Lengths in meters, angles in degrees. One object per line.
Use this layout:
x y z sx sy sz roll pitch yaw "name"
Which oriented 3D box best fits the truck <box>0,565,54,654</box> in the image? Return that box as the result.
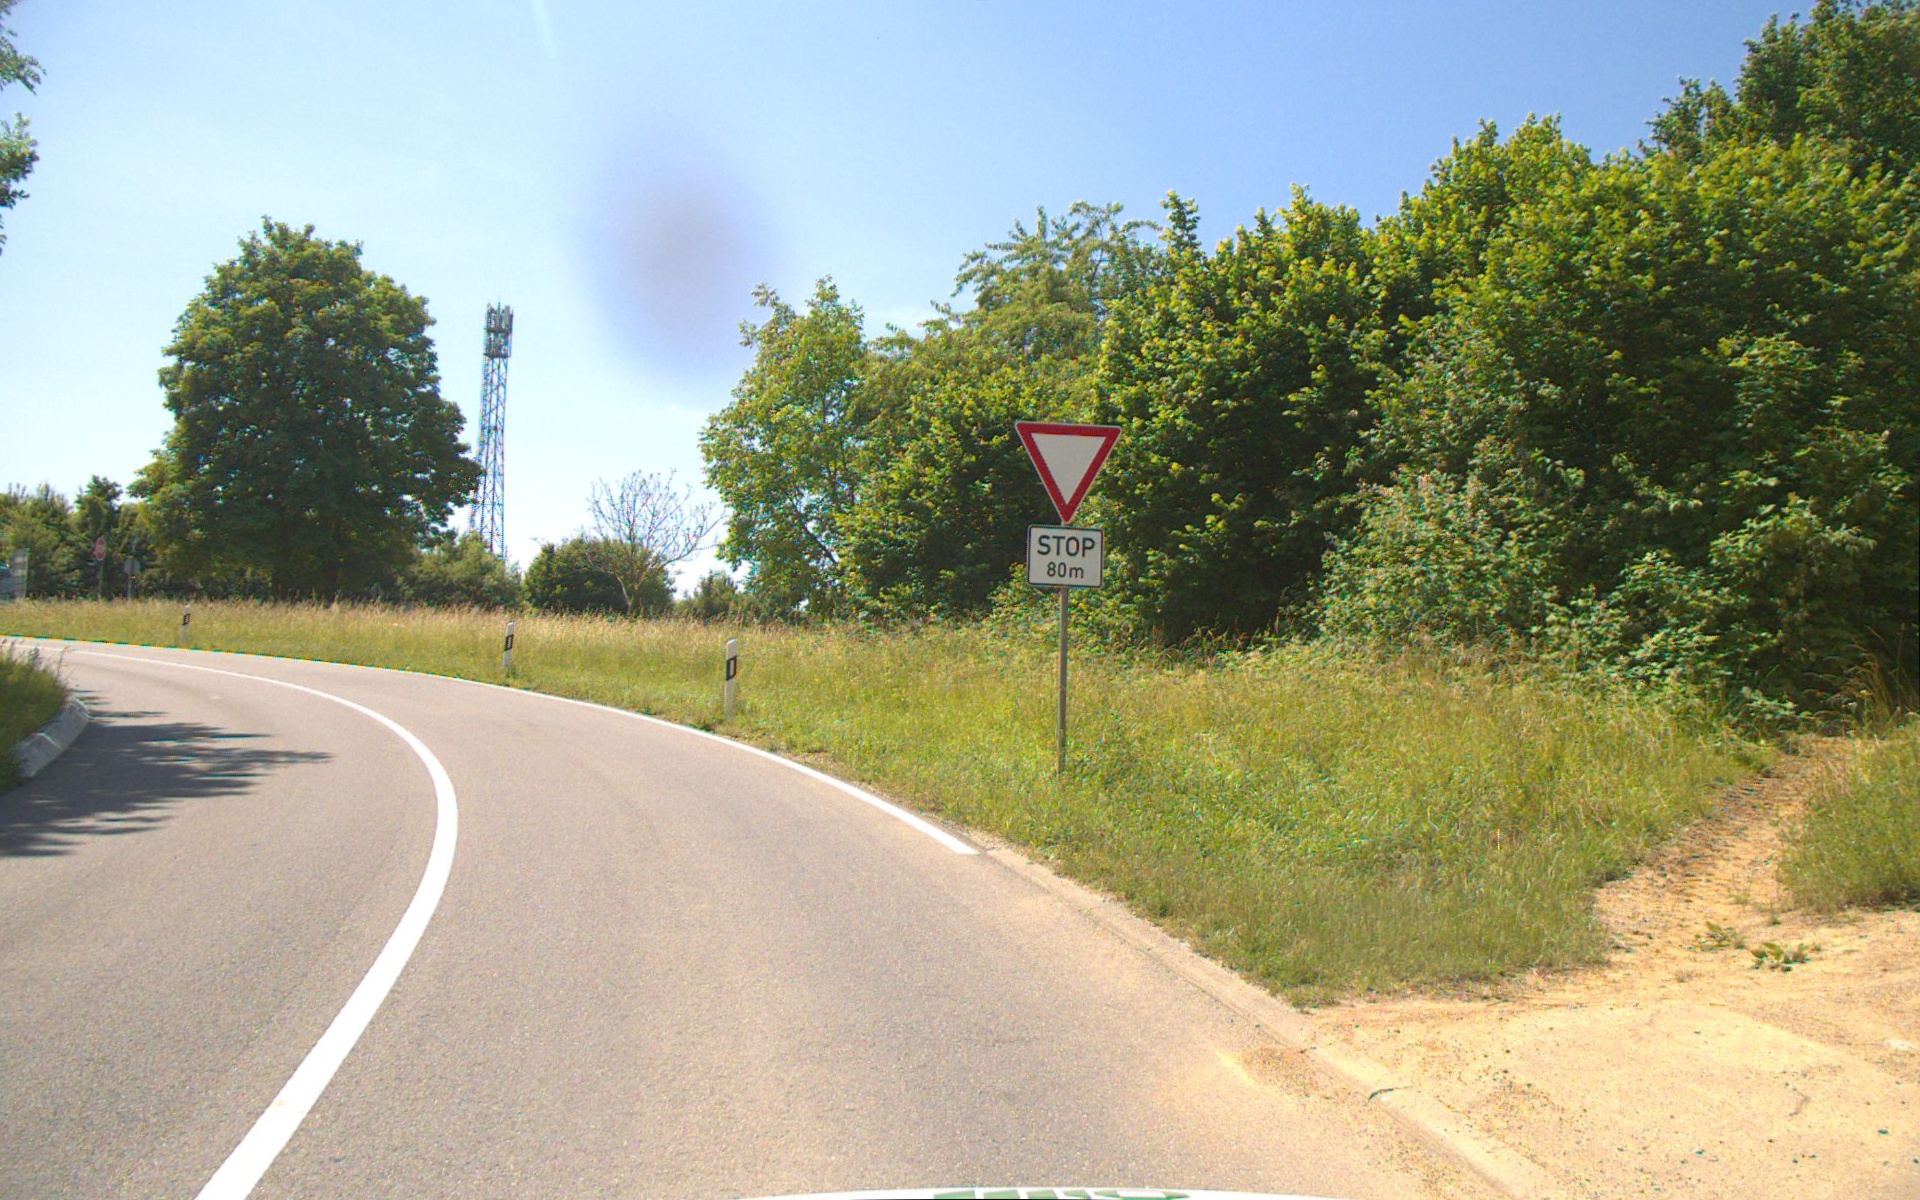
-53.748 0.292 81.688 16.284 4.246 3.136 2 -2 3 "truck"
